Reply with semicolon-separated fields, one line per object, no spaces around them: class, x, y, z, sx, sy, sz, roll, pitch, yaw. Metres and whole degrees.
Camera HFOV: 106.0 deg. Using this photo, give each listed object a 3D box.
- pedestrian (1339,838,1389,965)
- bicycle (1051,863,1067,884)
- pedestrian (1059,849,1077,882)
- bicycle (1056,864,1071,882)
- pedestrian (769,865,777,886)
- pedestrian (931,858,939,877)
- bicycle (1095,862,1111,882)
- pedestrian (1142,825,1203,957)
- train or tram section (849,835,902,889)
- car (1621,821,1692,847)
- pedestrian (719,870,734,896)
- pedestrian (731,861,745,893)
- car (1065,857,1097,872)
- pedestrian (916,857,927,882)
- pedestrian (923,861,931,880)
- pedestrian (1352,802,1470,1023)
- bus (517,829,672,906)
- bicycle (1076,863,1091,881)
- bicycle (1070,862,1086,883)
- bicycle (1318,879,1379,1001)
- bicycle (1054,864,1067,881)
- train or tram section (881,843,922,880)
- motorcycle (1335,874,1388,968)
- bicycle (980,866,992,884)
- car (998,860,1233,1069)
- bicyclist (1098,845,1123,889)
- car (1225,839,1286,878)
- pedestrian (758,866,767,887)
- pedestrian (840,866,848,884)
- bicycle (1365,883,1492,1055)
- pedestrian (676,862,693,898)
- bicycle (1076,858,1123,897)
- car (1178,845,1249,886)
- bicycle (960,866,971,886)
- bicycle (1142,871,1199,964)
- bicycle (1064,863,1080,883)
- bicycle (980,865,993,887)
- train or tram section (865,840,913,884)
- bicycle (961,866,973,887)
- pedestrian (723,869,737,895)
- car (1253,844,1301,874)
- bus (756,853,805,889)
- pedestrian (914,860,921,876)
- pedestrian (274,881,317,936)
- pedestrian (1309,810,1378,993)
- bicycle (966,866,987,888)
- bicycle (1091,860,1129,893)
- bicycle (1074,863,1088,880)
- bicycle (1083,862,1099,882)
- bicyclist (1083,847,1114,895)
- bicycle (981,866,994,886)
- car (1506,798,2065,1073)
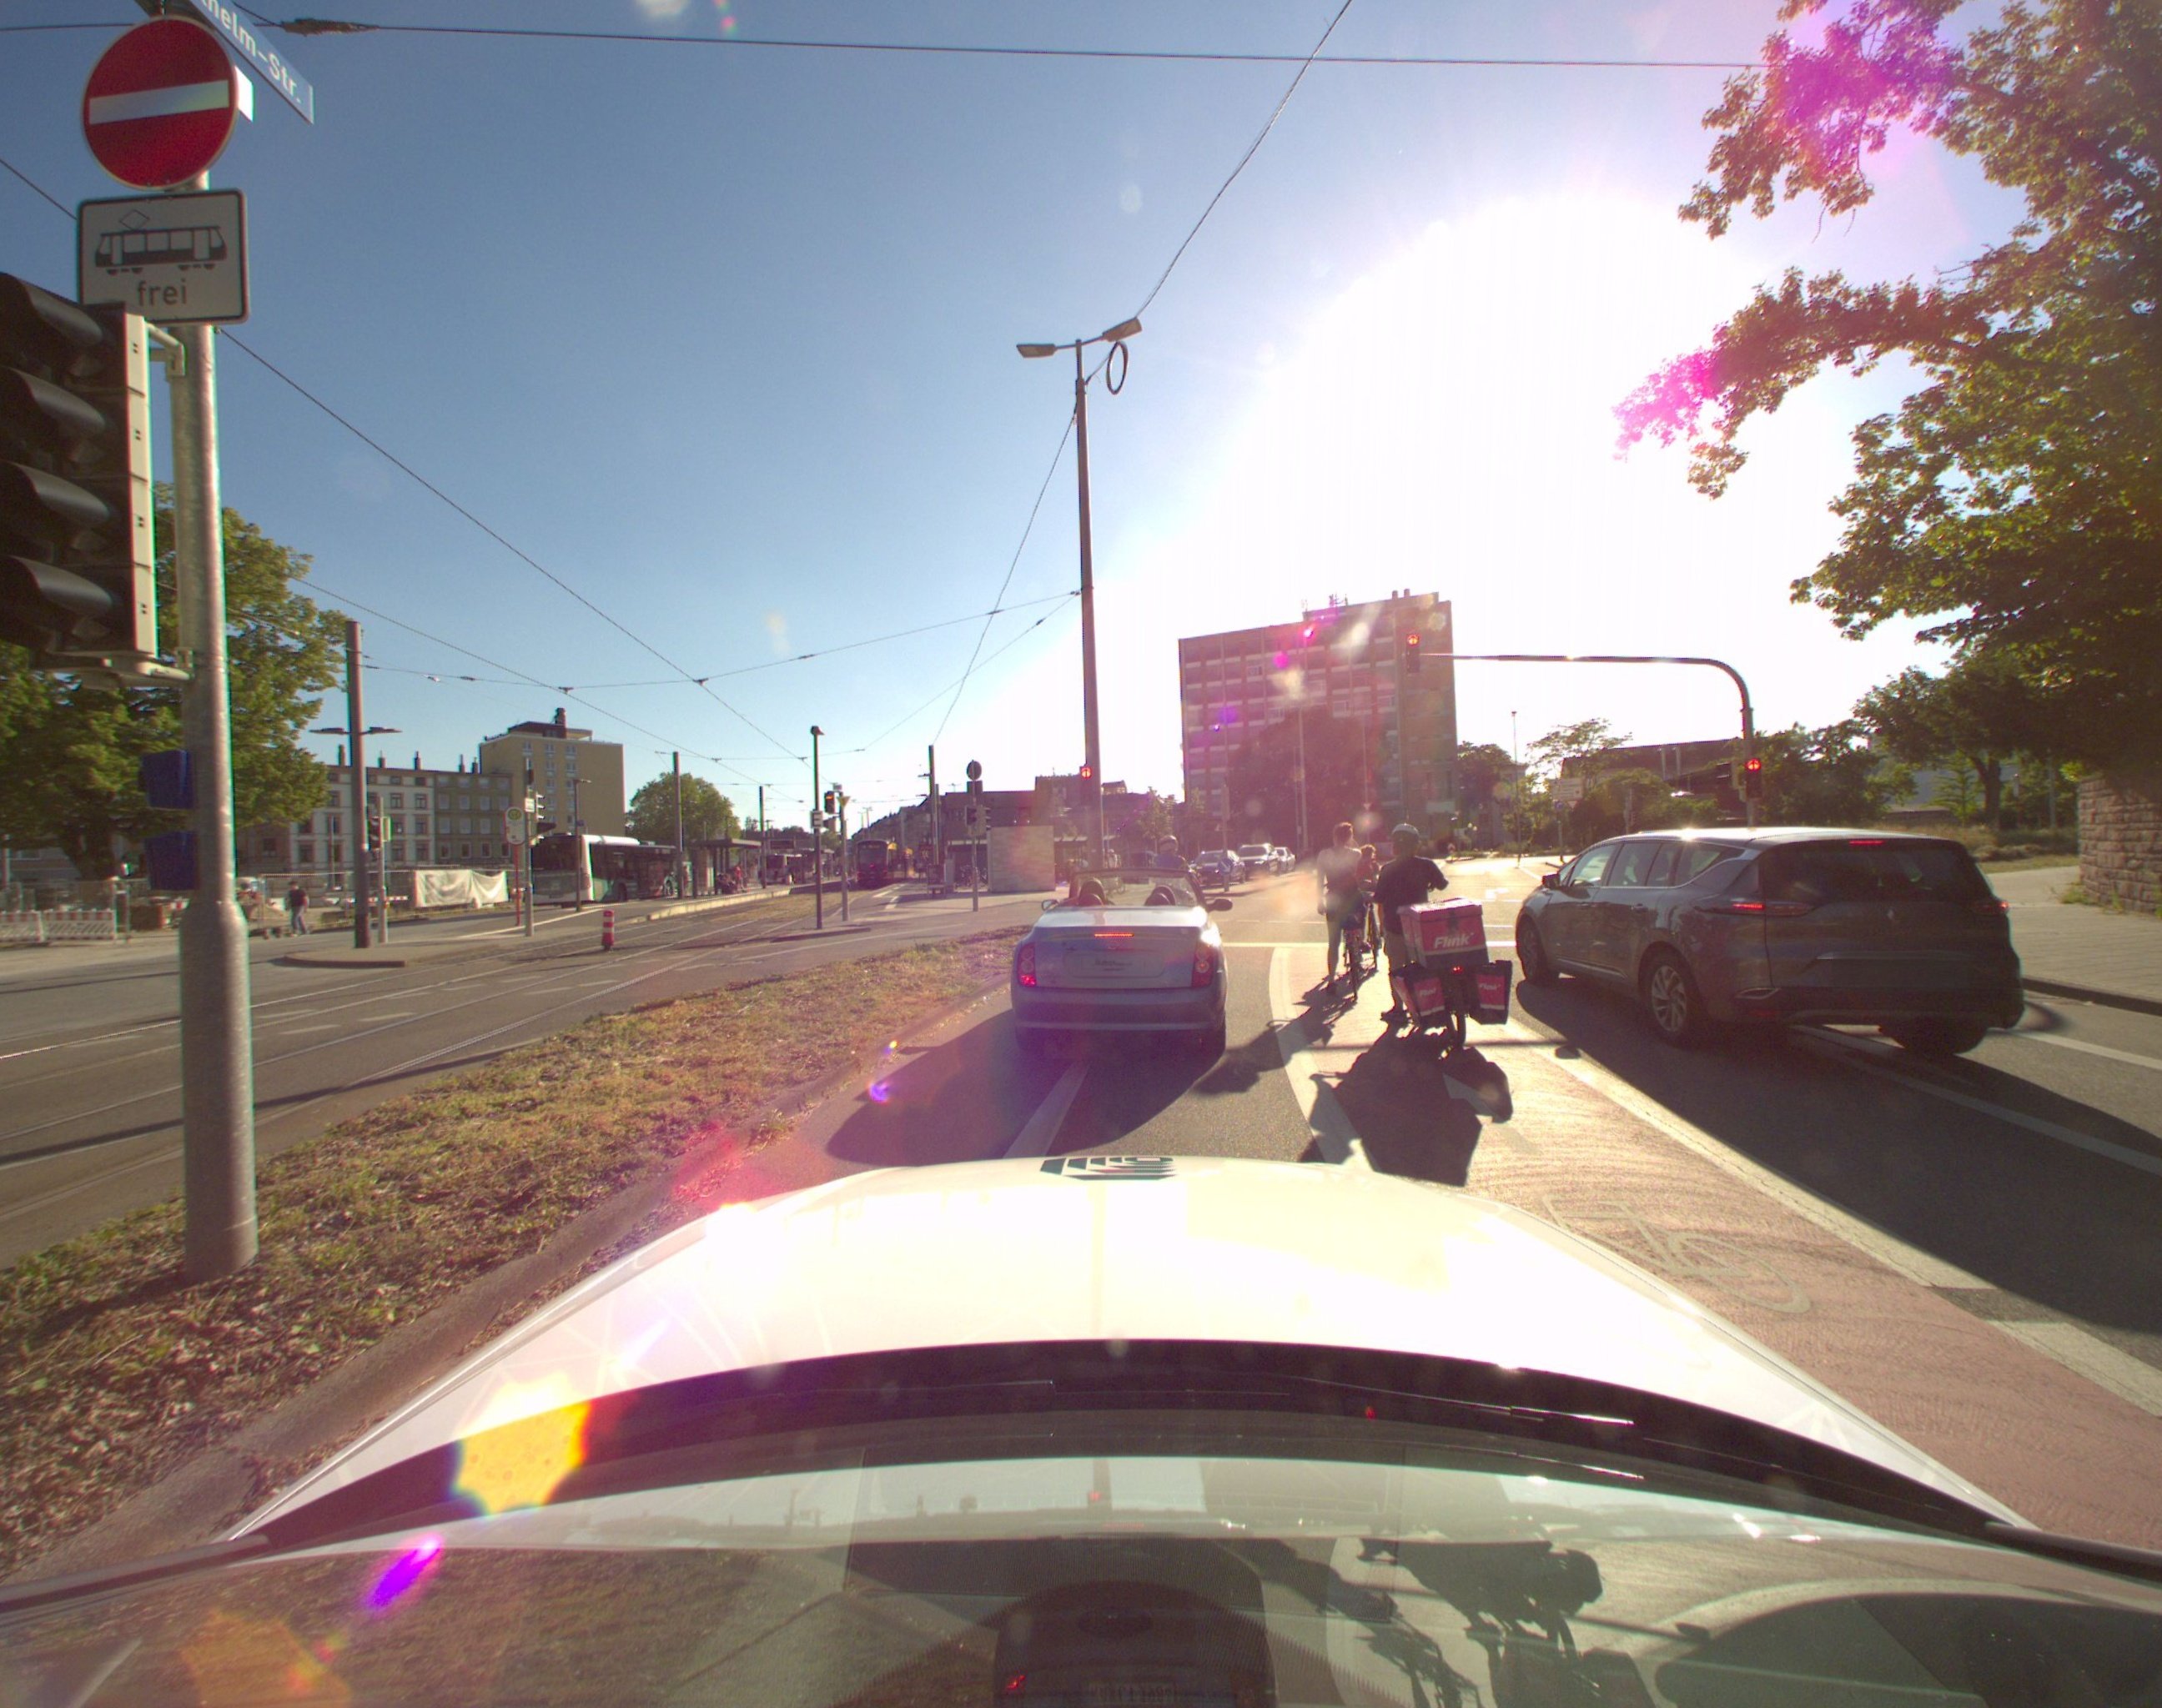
pedestrian;3.770;0.605;10.845;0.583;1.598;1.030;-1;-1;19
bicycle;-1.254;1.081;45.295;0.607;1.115;1.890;0;-1;-10
pedestrian;-0.742;0.672;46.928;0.901;1.869;0.684;0;-1;-11
bicycle;-1.104;1.163;51.240;0.607;1.115;1.890;0;-1;-10
pedestrian;-25.378;1.761;67.111;0.571;1.749;0.636;-2;-1;-17
pedestrian;-13.455;1.229;75.040;0.639;1.749;0.732;-2;-1;-17
bicycle;1.238;1.006;45.679;0.606;1.115;1.892;0;-1;-7
pedestrian;1.369;0.526;12.057;0.828;1.869;0.923;-1;-1;10
train or tram section;-15.262;0.582;61.216;2.881;3.597;12.158;0;-1;-10
car;47.652;-1.640;67.567;4.645;1.945;1.927;-3;-1;32
pedestrian;-18.603;1.521;42.776;0.617;1.340;0.438;-2;-1;-15
pedestrian;-19.111;1.276;45.339;0.571;1.749;0.636;-2;-1;-15
car;-0.031;1.176;88.864;1.653;1.560;3.559;-2;0;-37
pedestrian;-11.347;1.079;57.792;0.639;1.749;0.569;-2;-1;-17
pedestrian;-14.060;1.527;74.427;0.639;1.749;0.732;-2;-1;-17
pedestrian;2.977;0.502;7.447;0.801;1.869;0.959;-1;-1;10
bus;-22.371;0.573;38.222;2.652;3.135;9.617;0;-1;-8
bicycle;0.130;1.137;51.414;0.607;1.115;1.890;0;-1;-10
bicycle;-0.179;1.015;45.411;0.607;1.115;1.890;0;-1;-10
bicycle;2.933;0.877;9.021;0.559;1.151;1.958;-1;-1;17
bicycle;-1.347;1.194;53.214;0.607;1.115;1.890;0;-1;-10
train or tram section;-18.601;0.813;85.229;3.037;3.597;12.021;0;0;-7
motorcycle;3.827;0.844;11.105;0.608;1.097;2.371;-1;-1;19
bicycle;-5.902;1.287;50.624;0.607;1.115;1.890;0;-1;-10
car;0.548;0.782;7.796;1.650;1.441;4.164;-1;-1;9
bicyclist;1.146;0.490;31.602;0.702;1.657;0.747;-3;-1;24
car;8.555;0.198;39.670;1.745;1.706;4.557;-4;-1;26
pedestrian;-26.463;1.847;67.659;0.641;1.749;0.567;-2;-1;-25
pedestrian;-23.688;2.074;81.338;0.641;1.749;0.567;-2;-1;-25
bicycle;2.934;0.873;7.094;0.550;1.171;2.380;-1;-1;12
pedestrian;-19.608;1.272;40.304;0.536;1.749;0.559;-2;-1;-4
bicycle;0.675;0.811;28.969;0.668;1.250;2.471;-5;-1;24
car;5.547;0.468;33.642;1.720;1.574;3.948;-1;-1;28
bicycle;-6.561;1.250;46.294;0.606;1.115;1.891;0;-1;-8
bicycle;1.357;0.865;11.987;0.604;1.191;2.422;-1;-1;12
bicycle;-0.542;1.092;47.352;0.607;1.115;1.890;0;-1;-10
bicycle;-5.178;1.193;44.665;0.607;1.115;1.890;0;-1;-10
train or tram section;-17.067;0.705;73.257;3.010;3.597;12.165;0;-1;-8
bicycle;-6.213;1.232;44.359;0.607;1.115;1.890;0;-1;-10
pedestrian;-18.732;1.475;43.463;0.571;1.346;0.636;-2;-1;-15
car;11.166;0.251;46.216;1.678;1.560;4.004;-3;0;28
bus;-29.669;1.588;80.948;2.723;3.274;13.409;0;-1;-12
pedestrian;-18.231;1.538;90.573;0.604;1.749;0.830;-2;-1;-6
pedestrian;-25.391;1.752;26.350;0.712;1.697;0.893;-3;-2;-25
pedestrian;2.836;0.490;8.839;0.654;1.869;0.876;-1;-1;17
bicycle;-5.467;1.203;42.735;0.603;1.115;1.901;-1;-1;8
bicycle;1.154;0.846;31.572;0.668;1.180;2.195;-3;0;24
bicycle;-0.031;1.132;53.391;0.607;1.115;1.890;0;-1;-10
bicycle;0.556;1.055;47.714;0.607;1.115;1.890;0;-1;-10
bicyclist;0.627;0.595;28.904;0.702;1.657;0.906;-5;-2;24
bicycle;-5.374;1.225;46.735;0.607;1.115;1.890;0;-1;-10
car;5.540;0.522;7.320;1.820;1.689;4.381;-1;-1;10
